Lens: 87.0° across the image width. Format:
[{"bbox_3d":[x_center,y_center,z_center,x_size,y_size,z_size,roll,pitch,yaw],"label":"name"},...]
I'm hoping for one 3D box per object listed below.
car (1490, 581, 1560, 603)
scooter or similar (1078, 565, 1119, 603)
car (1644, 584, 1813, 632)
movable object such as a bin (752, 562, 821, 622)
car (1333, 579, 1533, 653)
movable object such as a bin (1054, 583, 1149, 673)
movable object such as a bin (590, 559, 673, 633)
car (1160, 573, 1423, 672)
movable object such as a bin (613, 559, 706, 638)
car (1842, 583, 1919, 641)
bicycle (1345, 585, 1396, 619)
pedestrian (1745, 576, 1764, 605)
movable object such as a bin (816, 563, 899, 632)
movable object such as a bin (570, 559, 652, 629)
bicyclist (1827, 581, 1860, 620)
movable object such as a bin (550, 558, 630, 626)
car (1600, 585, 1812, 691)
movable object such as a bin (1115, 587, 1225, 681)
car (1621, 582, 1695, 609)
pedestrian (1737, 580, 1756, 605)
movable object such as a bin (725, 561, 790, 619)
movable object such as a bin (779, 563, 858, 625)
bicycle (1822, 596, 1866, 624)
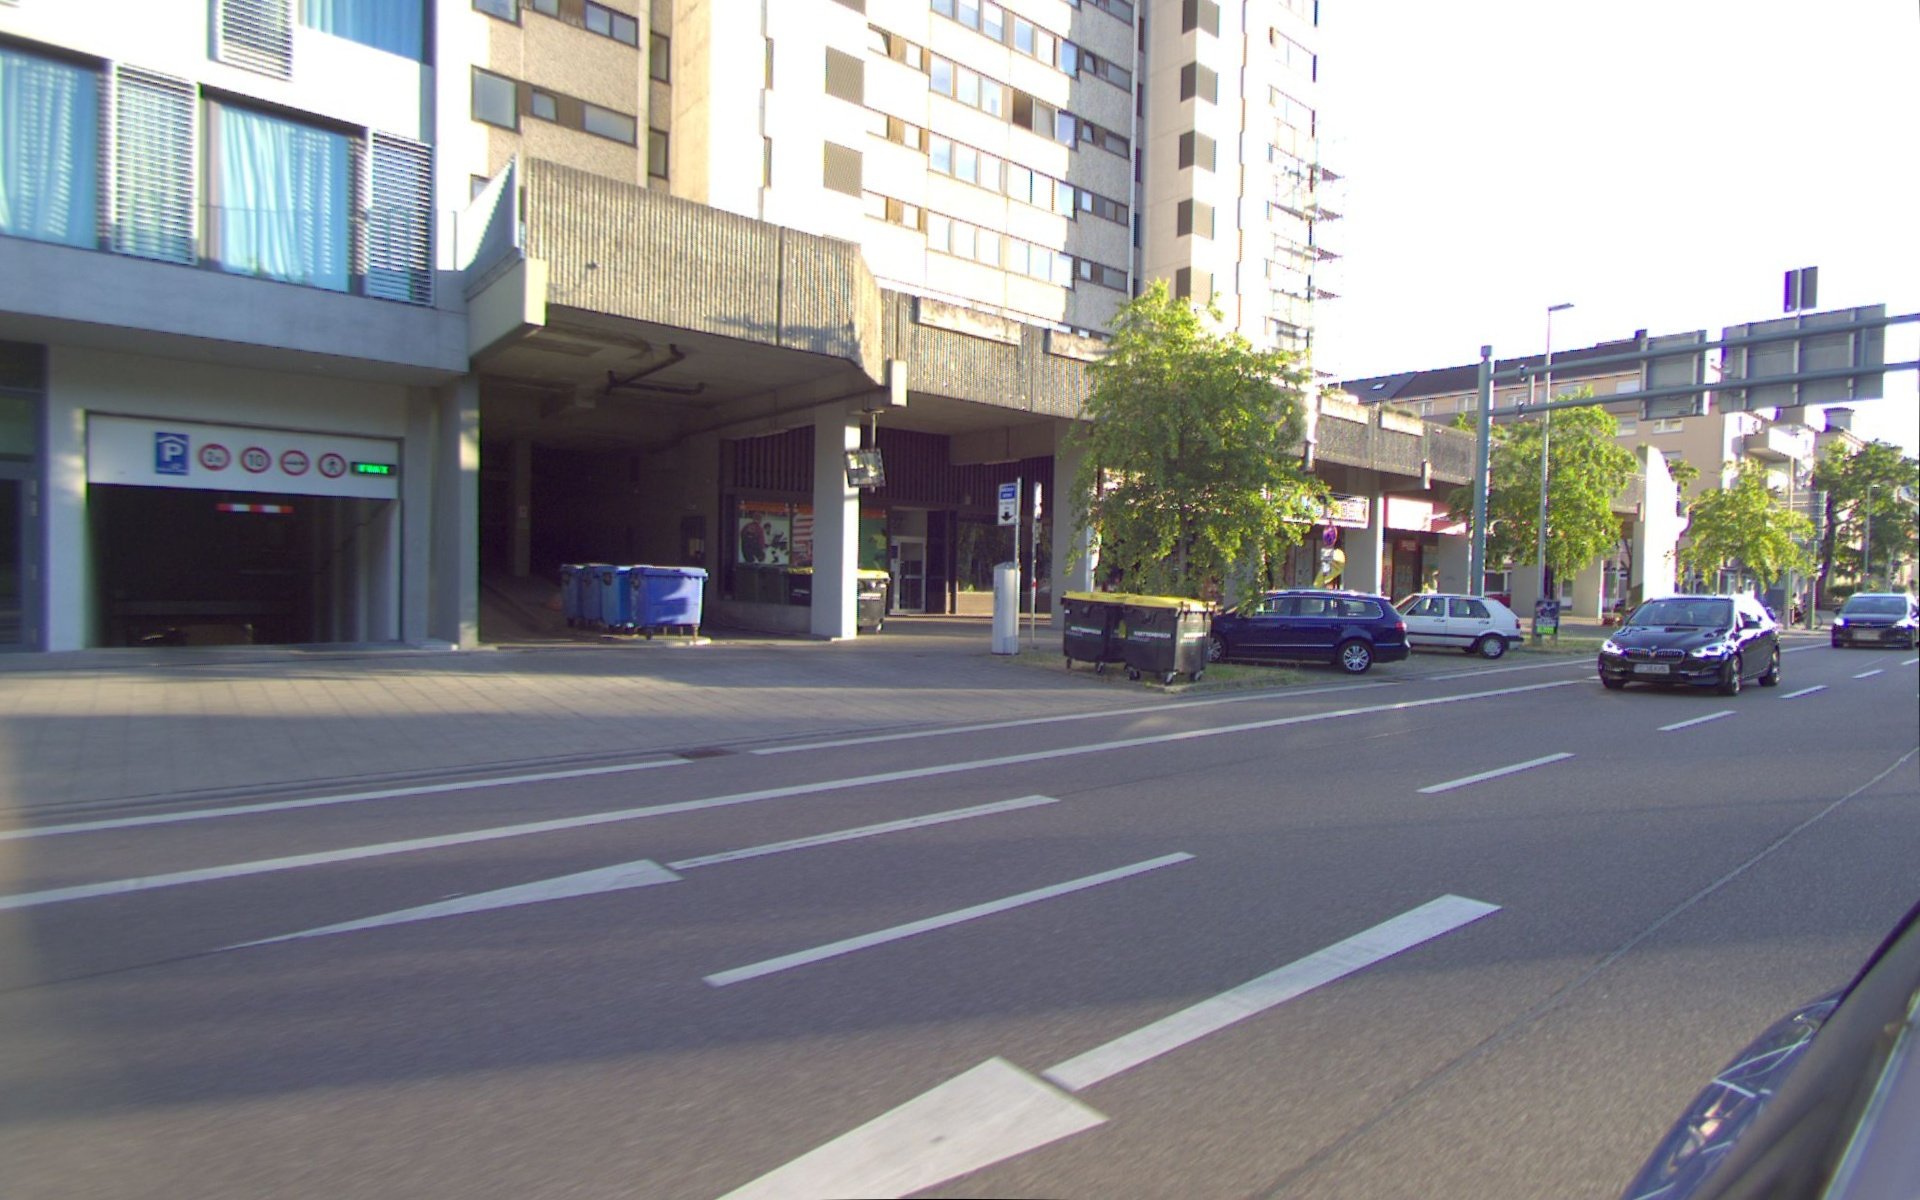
[{"bbox_3d":[41.636,-0.613,74.633,1.630,1.457,4.218,-5,5,-44],"label":"car"},{"bbox_3d":[4.445,-0.506,32.446,0.400,1.176,1.804,-1,-1,40],"label":"scooter or similar"},{"bbox_3d":[28.213,0.275,37.294,4.532,1.471,1.809,3,2,10],"label":"car"},{"bbox_3d":[-3.998,-0.199,23.367,1.105,1.329,1.184,0,2,-41],"label":"movable object such as a bin"},{"bbox_3d":[11.091,0.342,24.014,3.931,1.433,1.745,3,3,13],"label":"car"},{"bbox_3d":[2.344,0.432,16.736,1.142,1.363,1.015,0,4,-45],"label":"movable object such as a bin"},{"bbox_3d":[-6.286,-0.091,19.370,1.181,1.346,1.076,0,2,-41],"label":"movable object such as a bin"},{"bbox_3d":[6.302,0.375,19.798,4.596,1.526,1.934,3,3,11],"label":"car"},{"bbox_3d":[-5.501,-0.046,18.513,1.260,1.346,1.107,0,3,-41],"label":"movable object such as a bin"},{"bbox_3d":[27.606,0.323,30.072,1.823,1.619,4.296,0,0,45],"label":"car"},{"bbox_3d":[14.148,0.062,34.902,0.425,1.061,1.576,0,4,-41],"label":"bicycle"},{"bbox_3d":[51.617,-0.628,65.777,0.534,1.882,0.839,-1,2,-39],"label":"pedestrian"},{"bbox_3d":[-2.168,-0.069,21.337,1.245,1.339,1.184,0,4,-41],"label":"movable object such as a bin"},{"bbox_3d":[-6.976,-0.131,20.219,1.260,1.346,1.035,0,2,-41],"label":"movable object such as a bin"},{"bbox_3d":[40.638,0.004,46.550,0.810,1.713,0.954,2,2,22],"label":"bicyclist"},{"bbox_3d":[-7.690,-0.181,21.044,1.260,1.346,1.076,0,2,-41],"label":"movable object such as a bin"},{"bbox_3d":[12.568,0.541,16.933,4.706,1.538,1.824,0,0,-40],"label":"car"},{"bbox_3d":[3.275,0.491,15.767,1.085,1.317,1.340,5,4,44],"label":"movable object such as a bin"},{"bbox_3d":[46.850,-0.340,67.984,1.587,1.578,3.813,-4,5,-39],"label":"car"},{"bbox_3d":[51.794,-0.499,66.648,0.753,1.635,0.821,-1,2,-39],"label":"pedestrian"},{"bbox_3d":[-4.864,-0.250,24.265,1.069,1.329,1.184,0,2,-41],"label":"movable object such as a bin"},{"bbox_3d":[-3.117,-0.141,22.330,1.282,1.315,1.184,0,2,-41],"label":"movable object such as a bin"},{"bbox_3d":[40.619,0.451,46.546,0.810,1.187,2.133,2,2,22],"label":"bicycle"}]
